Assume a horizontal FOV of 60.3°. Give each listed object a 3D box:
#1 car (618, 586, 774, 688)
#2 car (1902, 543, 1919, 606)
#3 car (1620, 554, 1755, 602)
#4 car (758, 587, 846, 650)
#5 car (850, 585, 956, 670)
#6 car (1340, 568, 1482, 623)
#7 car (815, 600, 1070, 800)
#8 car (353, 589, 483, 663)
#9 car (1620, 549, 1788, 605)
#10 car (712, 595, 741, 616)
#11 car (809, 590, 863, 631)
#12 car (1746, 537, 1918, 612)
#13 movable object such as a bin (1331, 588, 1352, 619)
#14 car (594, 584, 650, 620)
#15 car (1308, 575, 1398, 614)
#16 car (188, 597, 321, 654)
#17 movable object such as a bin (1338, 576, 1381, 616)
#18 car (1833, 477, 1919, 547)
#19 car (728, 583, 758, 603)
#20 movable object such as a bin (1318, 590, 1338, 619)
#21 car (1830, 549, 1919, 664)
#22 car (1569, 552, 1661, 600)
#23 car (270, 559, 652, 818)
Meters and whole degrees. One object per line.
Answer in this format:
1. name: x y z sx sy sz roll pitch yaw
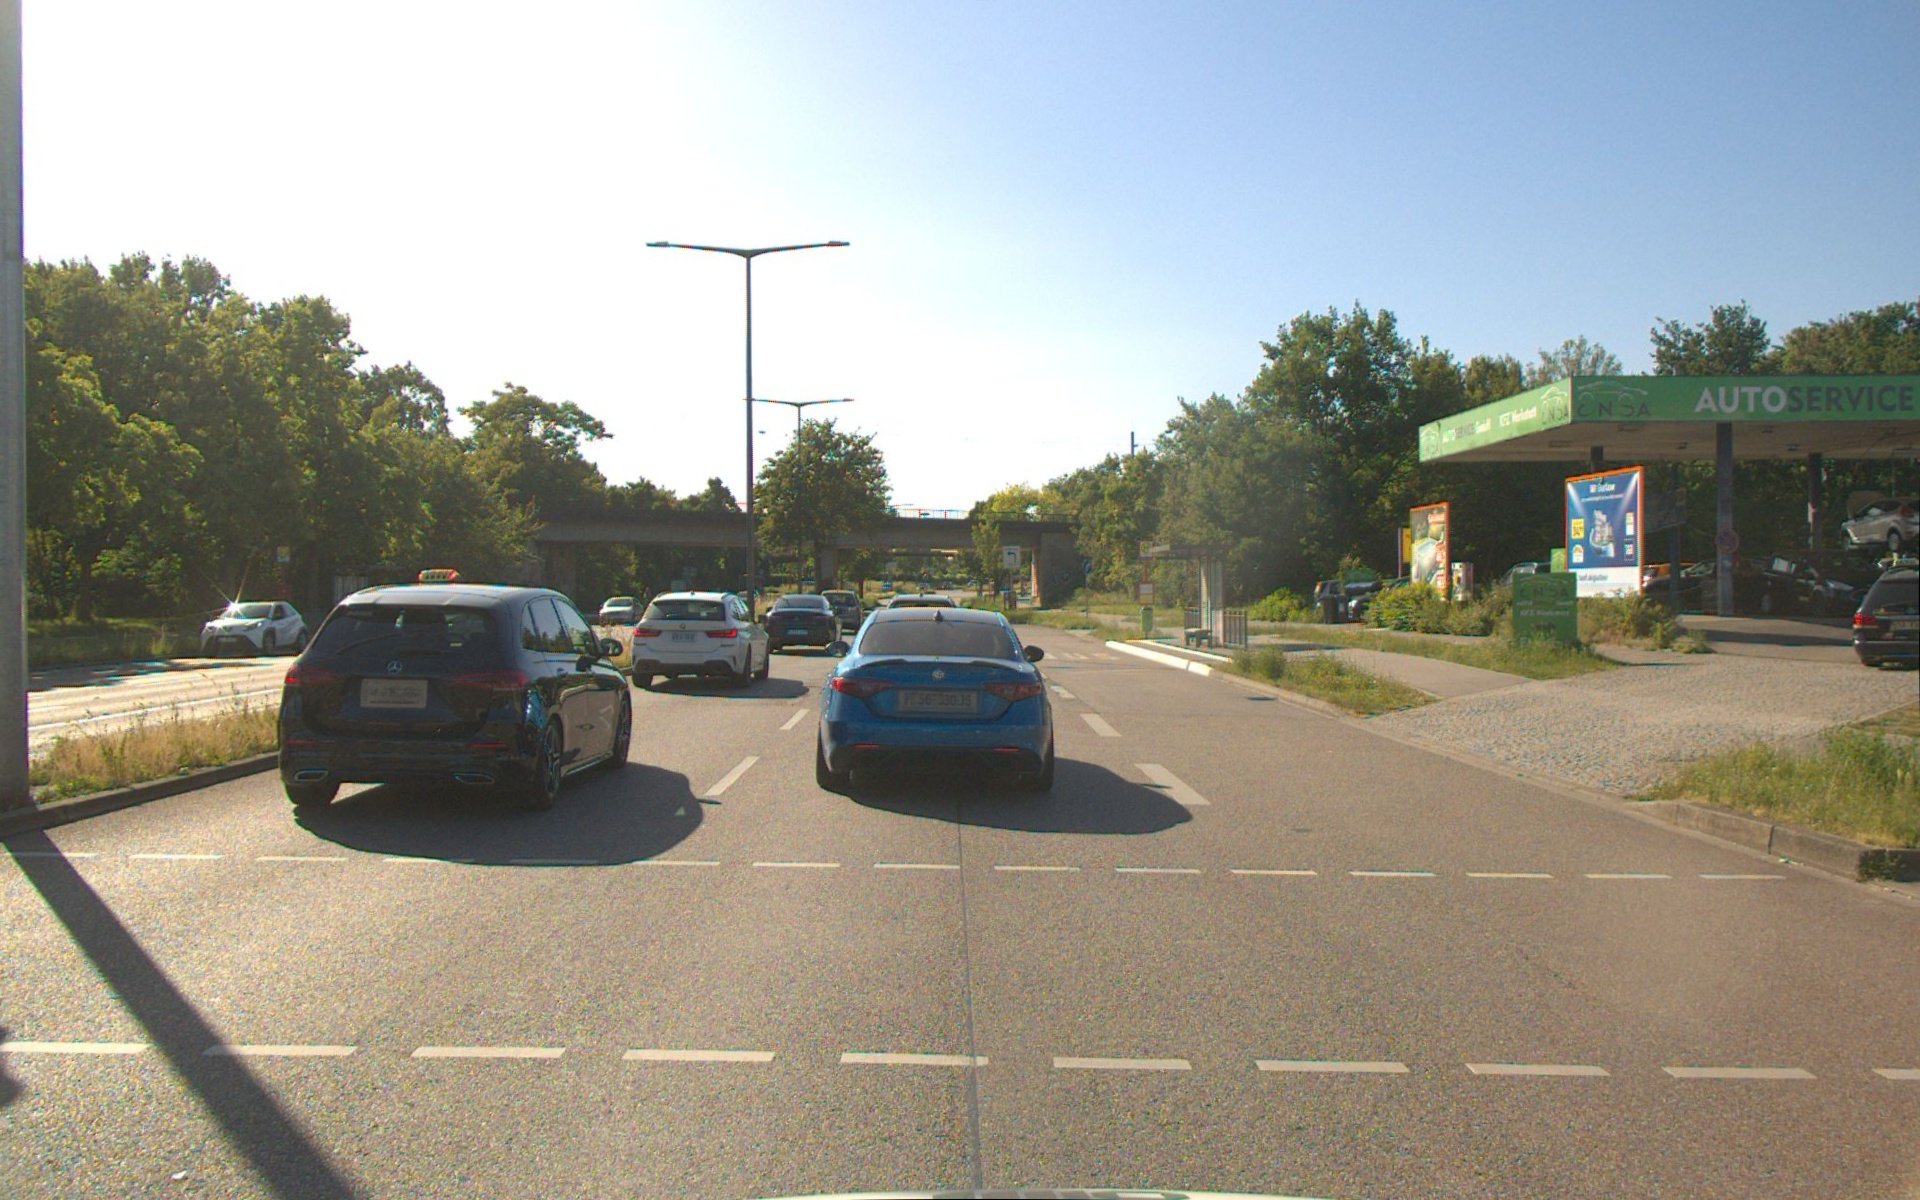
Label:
1. car: -4.175 0.547 26.832 1.845 1.479 4.525 1 0 -1
2. car: 23.237 -0.594 38.903 1.657 1.445 3.693 1 1 33
3. car: 25.053 -0.738 57.008 3.909 1.543 1.696 -1 0 -5
4. car: -3.943 0.444 41.958 1.845 1.479 4.525 1 0 -1
5. car: -1.040 0.483 31.480 1.845 1.479 4.525 1 0 -1
6. car: 15.769 -0.160 57.910 4.459 1.668 1.799 -3 0 29
7. car: -0.158 0.734 14.205 1.845 1.431 4.223 1 0 -1
8. car: -13.284 0.602 40.811 1.836 1.670 4.170 -2 0 -1
9. car: 21.310 -0.640 47.484 1.979 1.512 3.947 1 0 -37
10. car: -17.261 0.390 122.439 1.608 1.476 4.110 -2 0 -1
11. car: -4.599 0.367 61.910 1.743 1.479 4.181 -1 0 -1
12. car: 20.793 -0.575 39.617 1.953 1.676 3.999 1 0 -1
13. movable object such as a bin: 14.212 0.141 61.598 0.577 1.140 0.502 0 0 -43
14. car: -16.879 0.107 82.681 1.953 1.713 4.176 -2 0 -1
15. car: 15.837 -0.215 66.762 3.216 1.512 1.772 1 0 0
16. car: -19.638 0.678 46.221 1.953 1.500 4.195 -1 0 -1
17. movable object such as a bin: 14.682 -0.150 60.791 0.981 1.453 1.240 0 1 -43
18. car: 26.806 -2.474 47.114 1.879 1.785 3.778 -1 0 0
19. car: -17.350 -0.547 132.515 1.780 1.460 4.630 -2 0 -1
20. movable object such as a bin: 13.775 0.160 61.897 0.577 1.093 0.502 0 1 -43
21. car: 14.945 0.008 25.159 1.867 1.557 4.807 -3 1 42
22. car: 23.834 -0.845 60.354 1.678 1.635 4.135 1 0 -1
23. car: -3.565 0.562 12.642 1.673 1.626 4.223 1 0 -1
